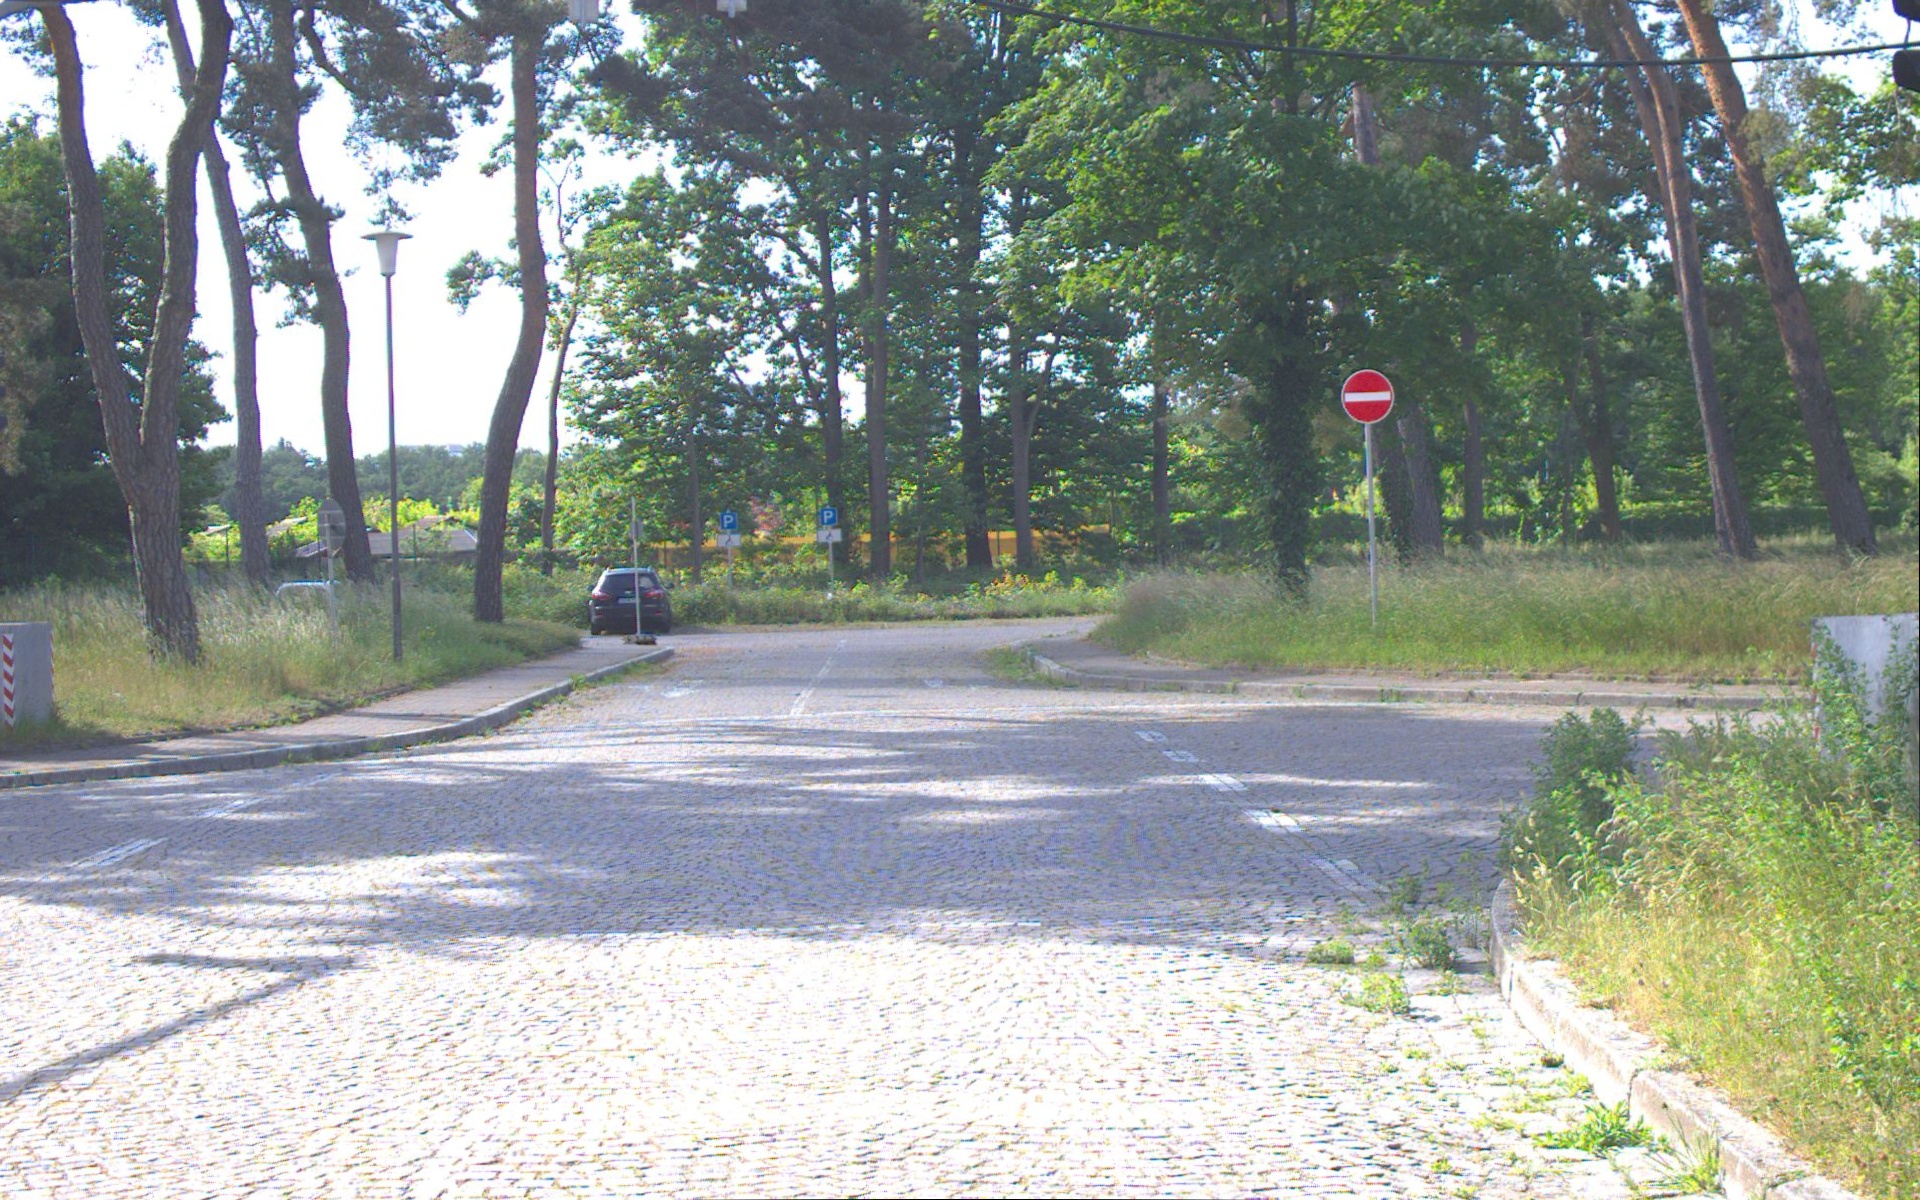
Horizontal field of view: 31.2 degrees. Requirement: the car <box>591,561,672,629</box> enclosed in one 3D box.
[{"bbox_3d":[-7.664,-0.144,80.410,1.709,1.491,3.919,-2,1,-3],"label":"car"}]
